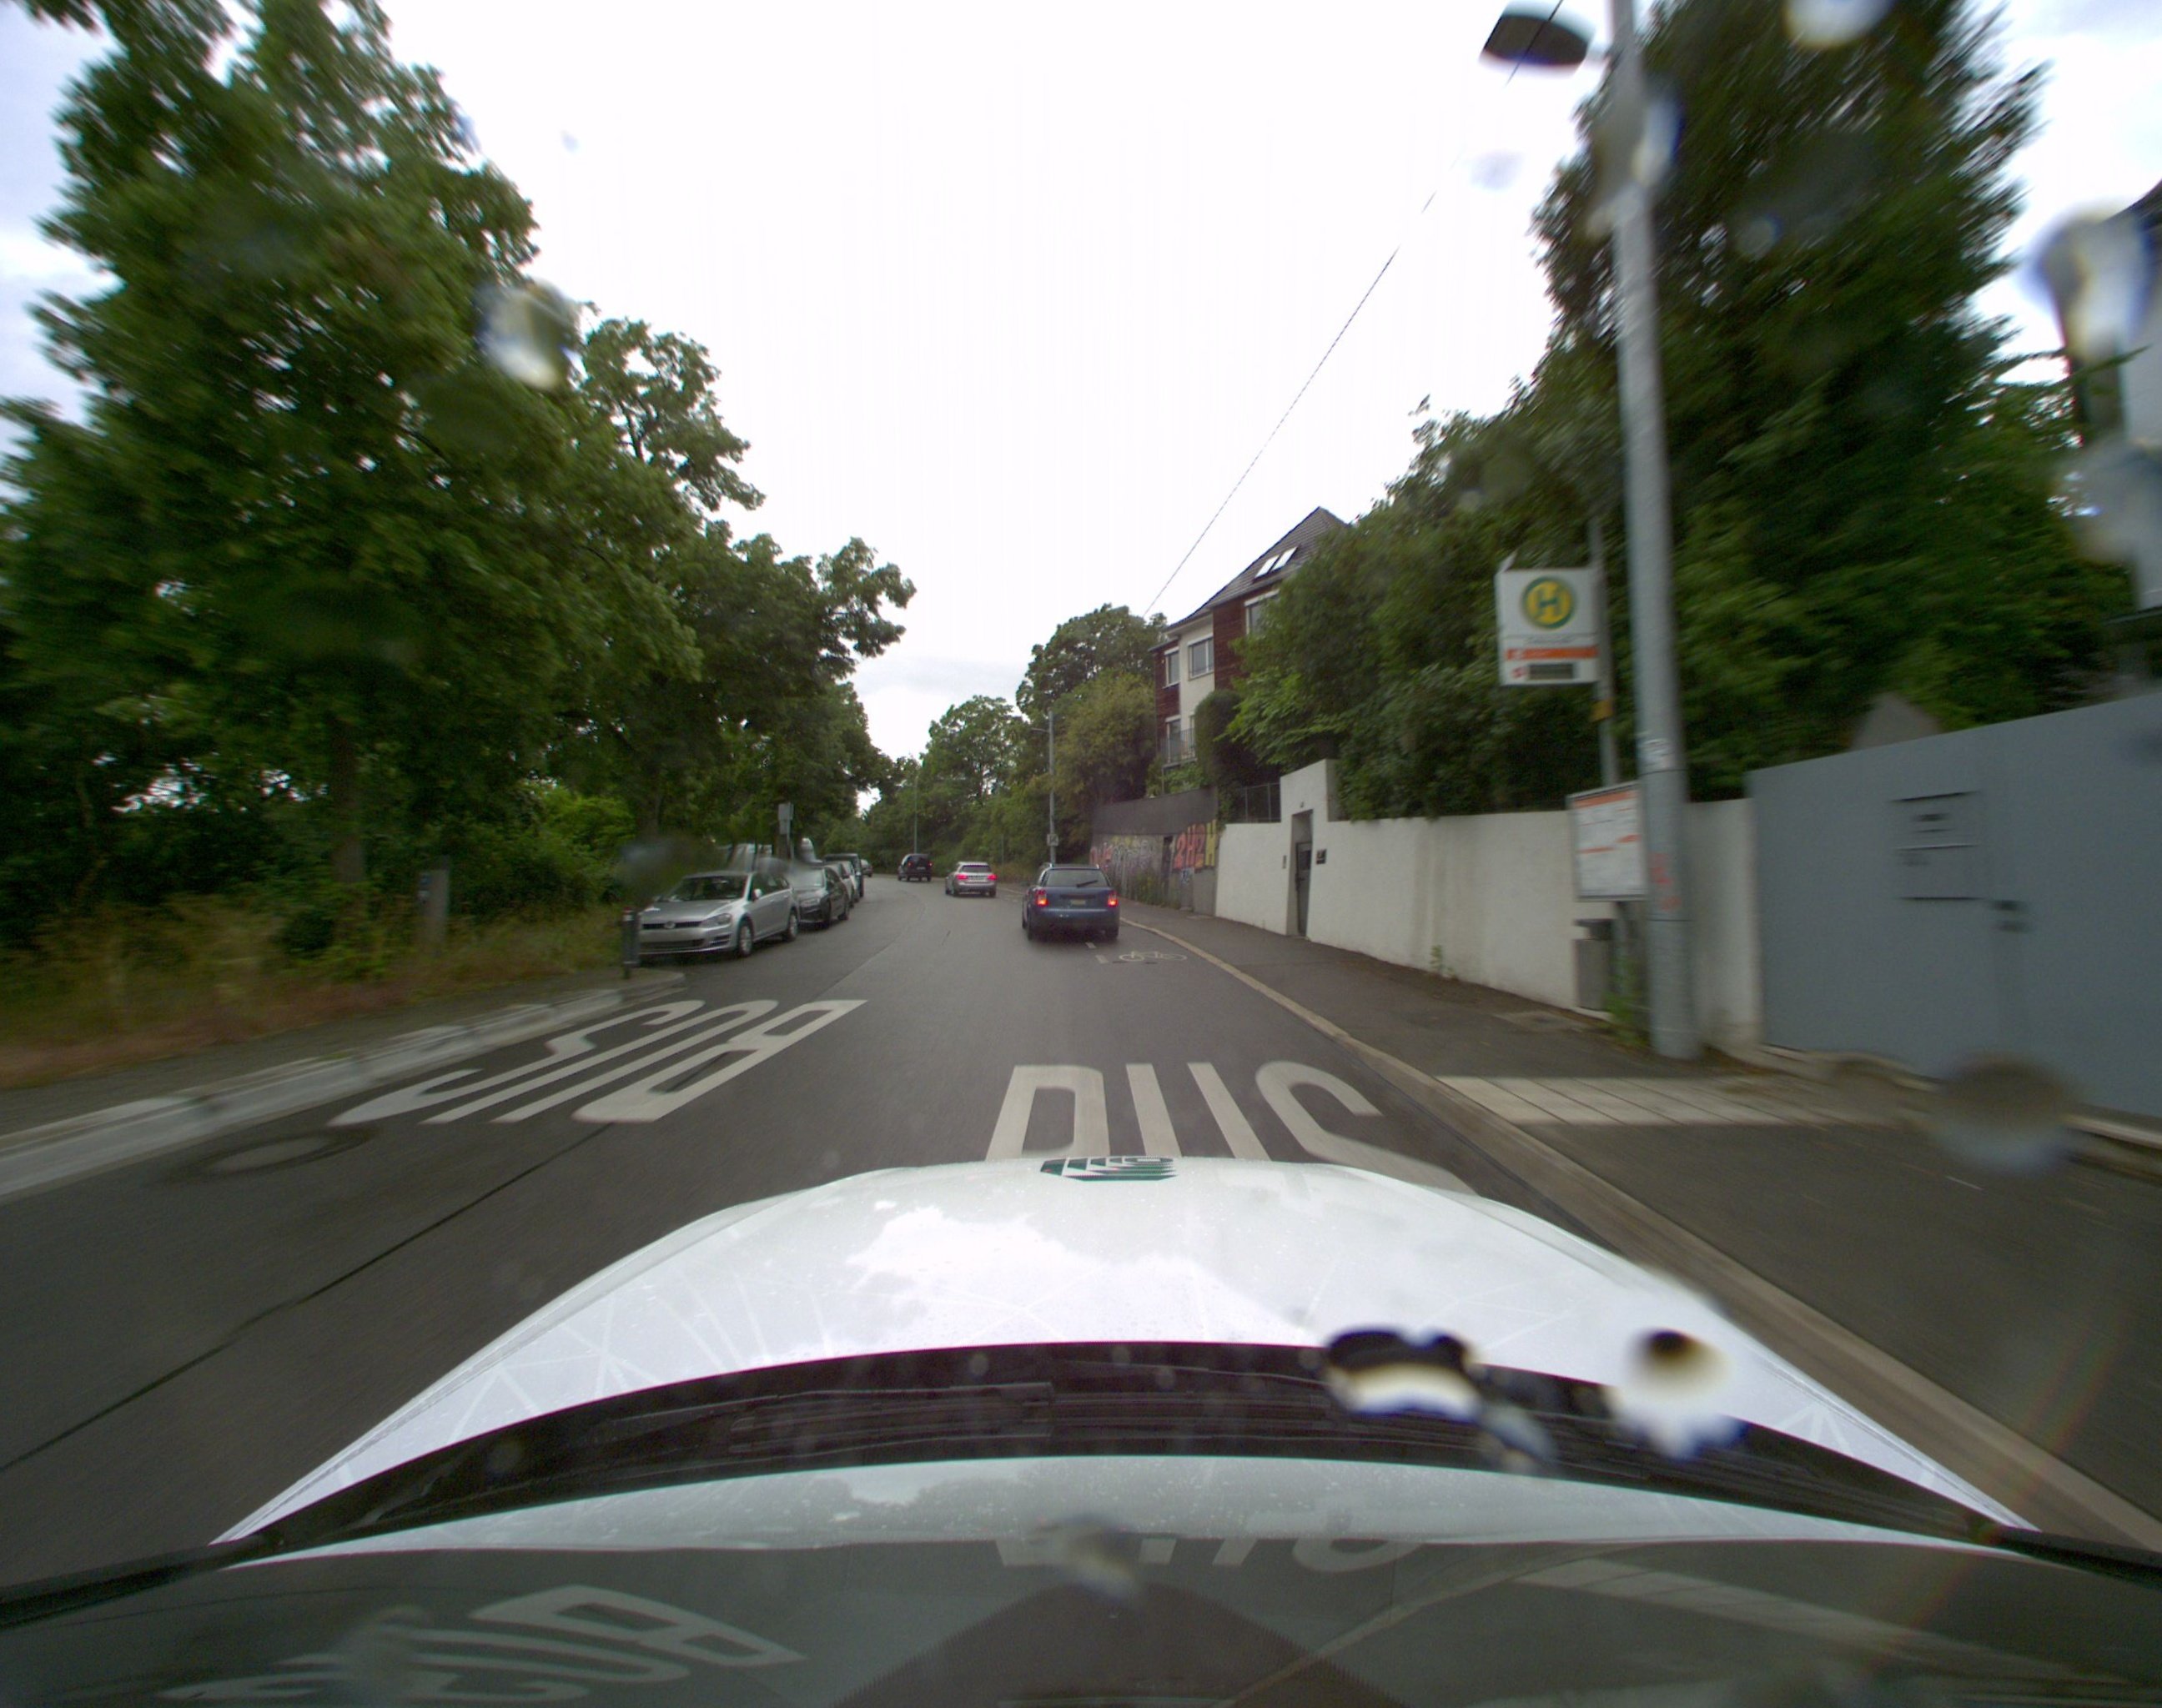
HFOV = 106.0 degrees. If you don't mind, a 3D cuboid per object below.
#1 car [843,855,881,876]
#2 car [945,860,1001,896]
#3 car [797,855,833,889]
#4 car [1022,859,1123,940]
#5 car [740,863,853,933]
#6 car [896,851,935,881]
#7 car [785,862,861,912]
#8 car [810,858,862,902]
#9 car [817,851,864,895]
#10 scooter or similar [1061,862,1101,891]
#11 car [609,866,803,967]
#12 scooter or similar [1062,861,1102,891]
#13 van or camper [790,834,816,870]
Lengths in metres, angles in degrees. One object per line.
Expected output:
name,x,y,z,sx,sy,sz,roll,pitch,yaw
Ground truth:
car,-17.888,0.956,66.451,1.778,1.570,3.988,-2,0,-33
car,-4.714,1.006,35.104,1.911,1.388,4.330,2,-1,-14
car,-16.929,1.122,51.677,2.000,2.013,3.973,-2,0,-20
car,-0.287,0.845,16.601,1.774,1.439,3.993,0,-1,-5
car,-6.706,0.977,19.603,1.672,1.427,3.991,-2,0,-7
car,-11.153,0.825,54.768,1.738,1.894,4.024,-2,0,-23
car,-8.330,1.008,26.578,1.673,1.427,3.988,-2,0,-8
car,-9.571,0.967,31.988,1.676,1.551,3.884,-2,0,-13
car,-10.814,0.834,36.890,1.840,1.843,3.883,-2,0,-15
scooter or similar,-0.004,1.105,39.996,1.830,1.315,0.599,4,-4,-3
car,-6.388,0.975,14.408,1.670,1.427,3.996,-2,0,-3
scooter or similar,0.025,1.073,39.302,1.830,1.315,0.599,4,-4,-3
van or camper,-21.113,-0.121,61.784,1.785,2.651,3.963,-2,0,-20
